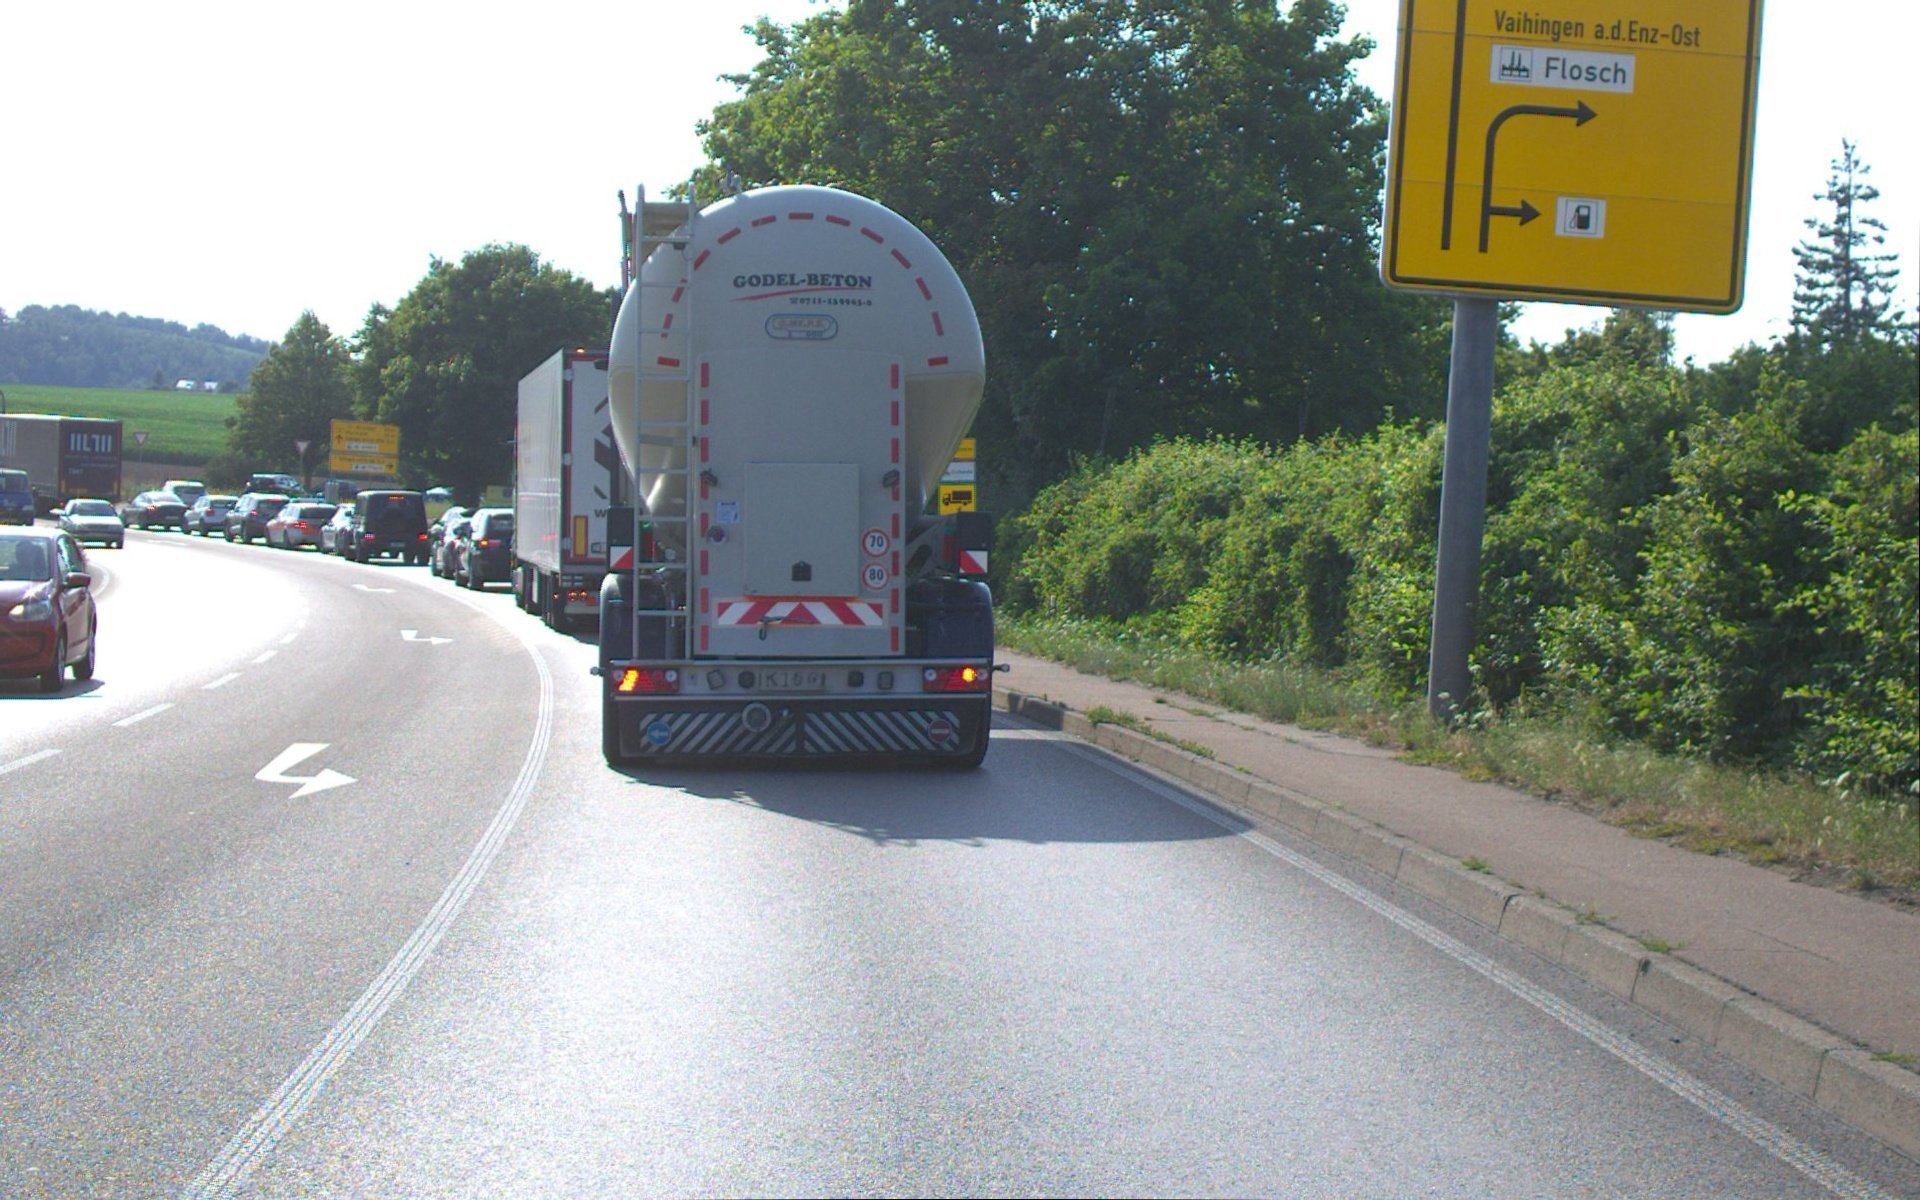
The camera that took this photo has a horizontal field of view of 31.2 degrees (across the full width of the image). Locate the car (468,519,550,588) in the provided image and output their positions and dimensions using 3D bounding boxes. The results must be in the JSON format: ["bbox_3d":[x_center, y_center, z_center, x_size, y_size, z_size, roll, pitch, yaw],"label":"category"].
[{"bbox_3d":[-9.532,-0.999,72.536,1.580,1.336,3.426,2,1,-9],"label":"car"}]

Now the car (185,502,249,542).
[{"bbox_3d":[-26.447,-2.786,122.361,1.580,1.336,3.426,2,1,-23],"label":"car"}]

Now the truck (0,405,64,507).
[{"bbox_3d":[-42.271,-6.389,152.626,3.375,4.335,5.707,1,1,-29],"label":"truck"}]

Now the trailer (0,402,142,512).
[{"bbox_3d":[-38.257,-6.051,145.293,3.375,4.335,14.296,1,2,-29],"label":"trailer"}]

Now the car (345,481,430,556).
[{"bbox_3d":[-15.806,-2.268,94.758,1.861,2.006,3.720,0,2,-16],"label":"car"}]

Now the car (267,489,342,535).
[{"bbox_3d":[-20.723,-2.790,108.645,1.580,1.336,3.426,2,1,-23],"label":"car"}]

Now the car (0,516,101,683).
[{"bbox_3d":[-8.939,-0.044,31.777,1.585,1.461,3.608,0,1,-8],"label":"car"}]

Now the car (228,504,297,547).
[{"bbox_3d":[-23.278,-2.486,114.660,1.580,1.336,3.426,2,1,-23],"label":"car"}]

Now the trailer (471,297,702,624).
[{"bbox_3d":[-5.726,-2.067,53.368,2.954,4.300,14.179,2,1,-6],"label":"trailer"}]

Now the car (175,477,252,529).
[{"bbox_3d":[-30.431,-3.955,140.084,1.993,2.006,4.001,0,3,-28],"label":"car"}]

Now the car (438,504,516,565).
[{"bbox_3d":[-11.351,-1.542,80.710,1.580,1.336,3.427,2,1,-11],"label":"car"}]

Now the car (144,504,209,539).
[{"bbox_3d":[-29.322,-2.947,128.591,1.769,1.201,3.426,2,1,-23],"label":"car"}]

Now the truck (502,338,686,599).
[{"bbox_3d":[-6.423,-2.280,60.512,2.951,4.288,4.932,2,1,-6],"label":"truck"}]

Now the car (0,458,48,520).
[{"bbox_3d":[-33.969,-3.976,122.900,1.997,2.129,4.781,1,1,-22],"label":"car"}]

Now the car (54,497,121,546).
[{"bbox_3d":[-26.562,-2.407,104.594,1.706,1.423,4.179,1,1,-17],"label":"car"}]

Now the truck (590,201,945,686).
[{"bbox_3d":[-1.775,-1.342,30.684,2.909,3.992,4.061,1,1,-5],"label":"truck"}]

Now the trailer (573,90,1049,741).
[{"bbox_3d":[-1.375,-1.253,26.291,2.909,3.992,9.932,1,1,-5],"label":"trailer"}]
